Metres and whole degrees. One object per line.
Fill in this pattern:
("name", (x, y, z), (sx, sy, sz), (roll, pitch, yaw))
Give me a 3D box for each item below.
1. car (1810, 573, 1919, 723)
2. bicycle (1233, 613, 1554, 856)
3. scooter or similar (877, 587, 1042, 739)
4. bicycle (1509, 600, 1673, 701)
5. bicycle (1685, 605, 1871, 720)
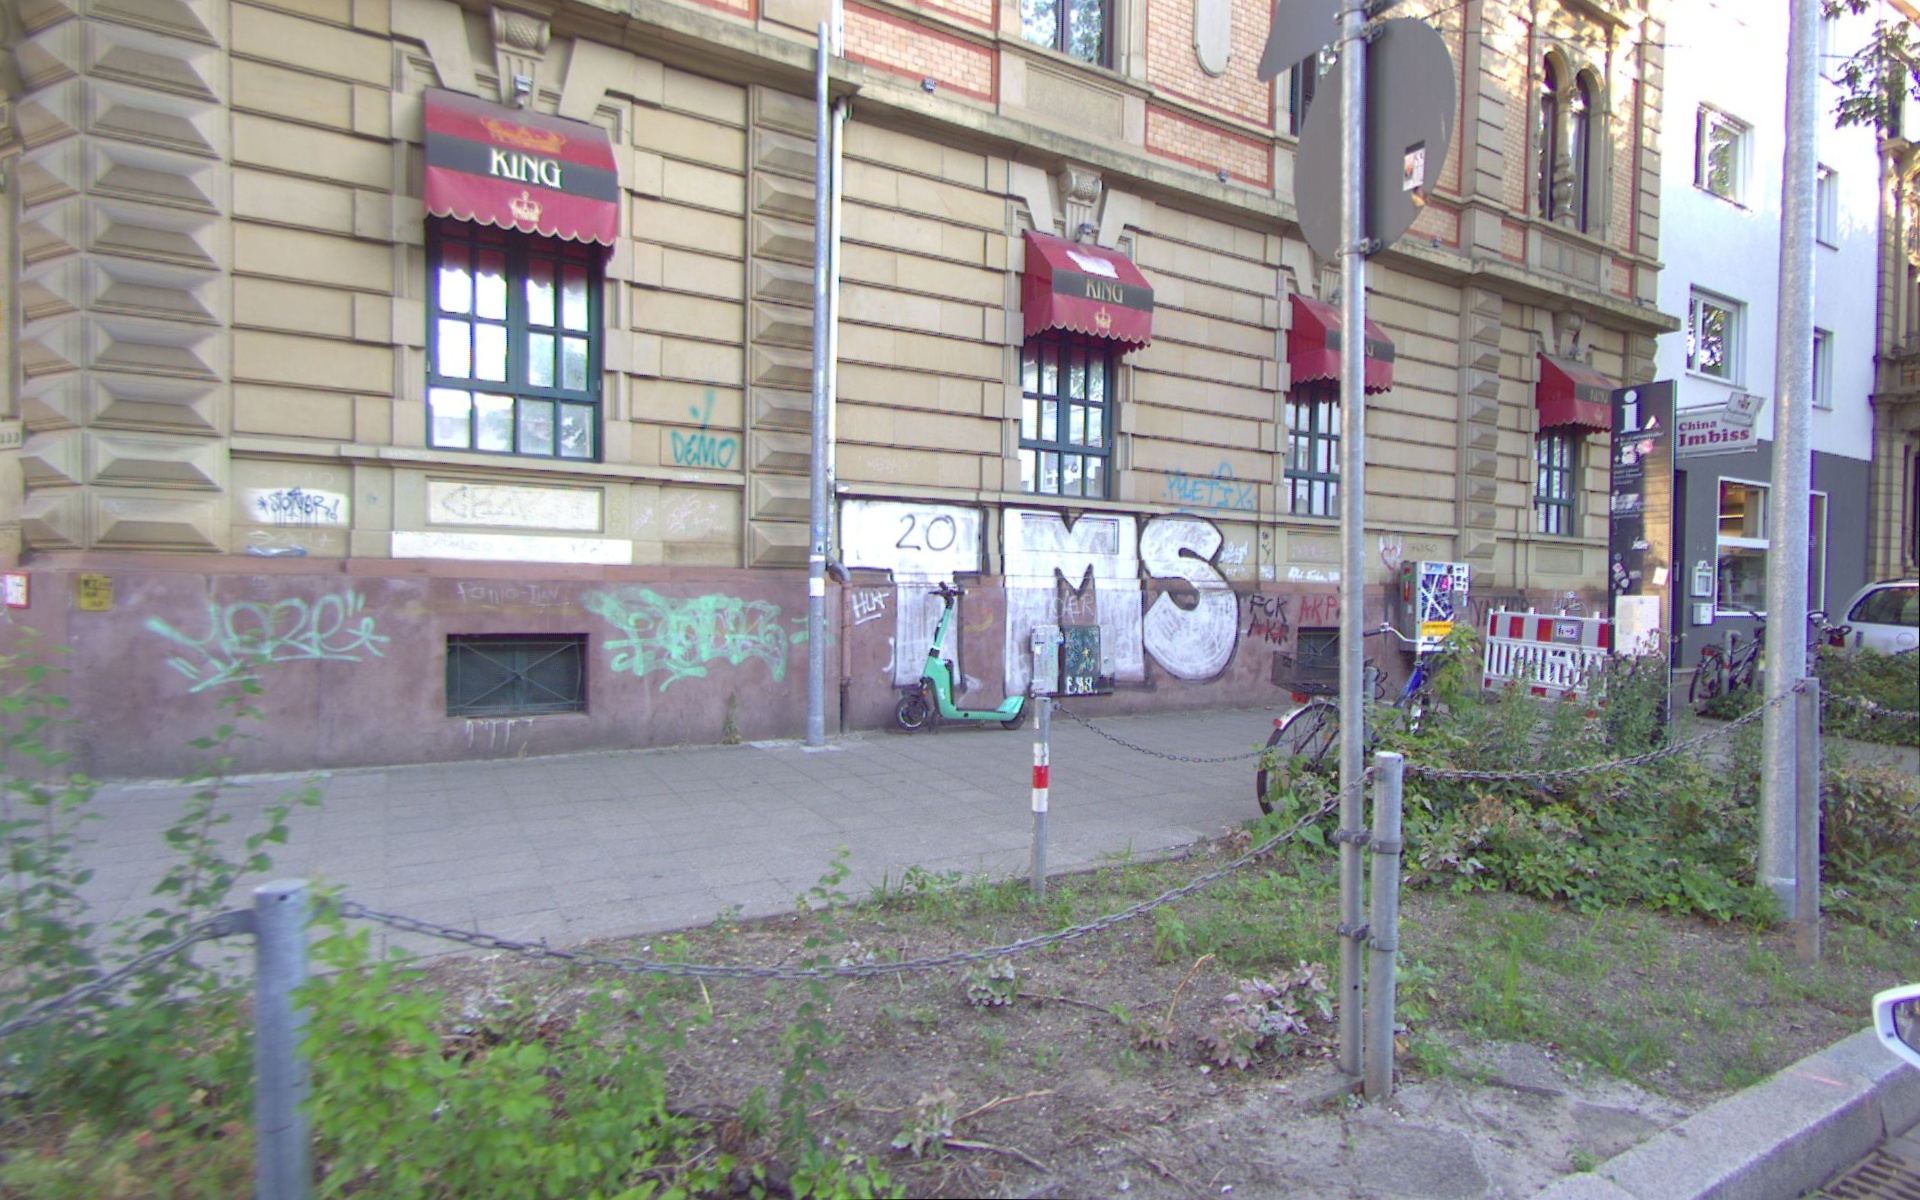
("car", (13.308, 0.616, 11.972), (1.813, 1.859, 4.523), (1, 0, -32))
("bicycle", (2.506, 0.677, 5.706), (2.076, 1.169, 0.508), (0, 3, -30))
("scooter or similar", (-0.011, 0.503, 8.301), (1.267, 1.184, 0.438), (1, 2, -18))
("bicycle", (8.205, 0.622, 13.023), (2.532, 1.218, 0.634), (1, 0, -29))
("bicycle", (9.545, 0.684, 11.688), (2.602, 1.202, 0.731), (1, 2, -29))
